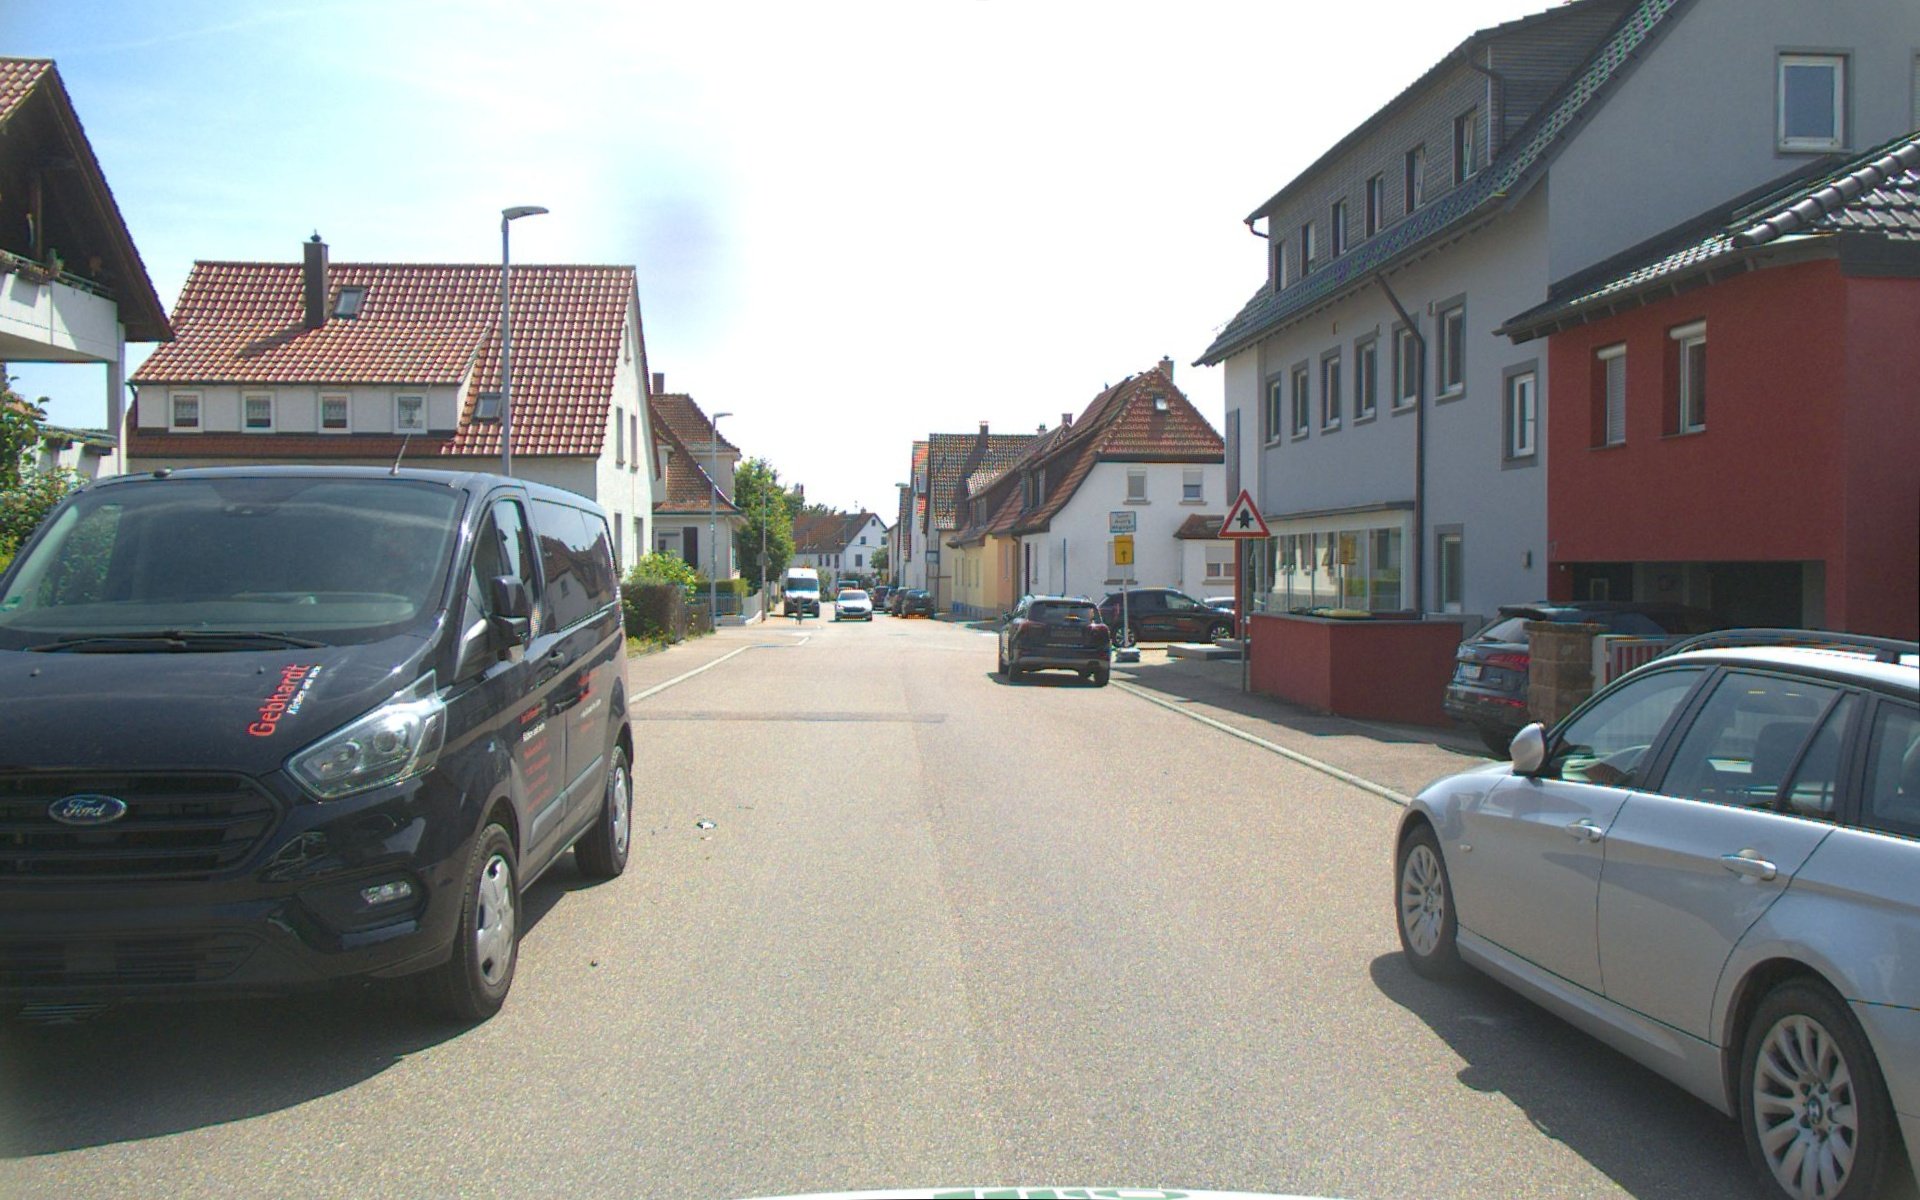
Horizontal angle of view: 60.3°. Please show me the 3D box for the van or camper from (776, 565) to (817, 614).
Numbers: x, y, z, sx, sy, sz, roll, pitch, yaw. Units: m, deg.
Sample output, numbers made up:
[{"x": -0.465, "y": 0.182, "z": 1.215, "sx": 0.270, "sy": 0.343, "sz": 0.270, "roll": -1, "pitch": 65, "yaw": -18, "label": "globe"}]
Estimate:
[{"x": -9.094, "y": -0.589, "z": 91.796, "sx": 2.142, "sy": 2.616, "sz": 6.798, "roll": 1, "pitch": 0, "yaw": -6, "label": "van or camper"}]

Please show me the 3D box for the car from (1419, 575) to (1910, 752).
[{"x": 7.142, "y": 0.622, "z": 17.032, "sx": 4.282, "sy": 1.698, "sz": 1.875, "roll": 1, "pitch": 0, "yaw": -5, "label": "car"}]

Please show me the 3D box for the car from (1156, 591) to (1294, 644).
[{"x": 8.030, "y": 0.518, "z": 50.281, "sx": 3.906, "sy": 1.530, "sz": 1.694, "roll": 1, "pitch": 0, "yaw": -1, "label": "car"}]

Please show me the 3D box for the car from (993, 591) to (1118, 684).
[{"x": 1.653, "y": 0.623, "z": 30.124, "sx": 1.727, "sy": 1.553, "sz": 4.402, "roll": 1, "pitch": 0, "yaw": -4, "label": "car"}]

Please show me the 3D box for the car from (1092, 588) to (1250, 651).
[{"x": 5.849, "y": 0.532, "z": 46.228, "sx": 4.204, "sy": 1.682, "sz": 1.848, "roll": 1, "pitch": 0, "yaw": 2, "label": "car"}]

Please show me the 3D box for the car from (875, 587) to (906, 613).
[{"x": -4.401, "y": 0.000, "z": 104.419, "sx": 1.642, "sy": 1.586, "sz": 3.035, "roll": 1, "pitch": 0, "yaw": -8, "label": "car"}]

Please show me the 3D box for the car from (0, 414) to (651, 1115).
[{"x": -2.586, "y": 0.448, "z": 7.057, "sx": 1.929, "sy": 1.986, "sz": 4.692, "roll": -1, "pitch": 0, "yaw": -4, "label": "car"}]

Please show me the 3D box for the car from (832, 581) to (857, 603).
[{"x": -11.470, "y": -0.811, "z": 164.415, "sx": 2.085, "sy": 2.196, "sz": 4.736, "roll": 0, "pitch": 0, "yaw": 0, "label": "car"}]

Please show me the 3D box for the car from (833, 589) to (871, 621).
[{"x": -5.154, "y": 0.227, "z": 78.940, "sx": 1.718, "sy": 1.463, "sz": 4.584, "roll": 1, "pitch": 0, "yaw": -4, "label": "car"}]

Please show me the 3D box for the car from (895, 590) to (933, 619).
[{"x": -2.440, "y": 0.211, "z": 86.996, "sx": 1.580, "sy": 1.456, "sz": 3.747, "roll": 1, "pitch": 0, "yaw": -8, "label": "car"}]

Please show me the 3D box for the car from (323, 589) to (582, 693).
[{"x": -7.711, "y": 0.565, "z": 25.647, "sx": 1.788, "sy": 1.457, "sz": 4.567, "roll": 1, "pitch": 0, "yaw": 13, "label": "car"}]

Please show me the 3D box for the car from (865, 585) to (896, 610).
[{"x": -5.789, "y": -0.187, "z": 119.570, "sx": 1.840, "sy": 1.730, "sz": 4.175, "roll": 1, "pitch": 0, "yaw": -8, "label": "car"}]

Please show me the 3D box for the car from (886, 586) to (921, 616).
[{"x": -3.166, "y": 0.047, "z": 92.580, "sx": 1.695, "sy": 1.627, "sz": 4.248, "roll": 1, "pitch": 0, "yaw": -5, "label": "car"}]

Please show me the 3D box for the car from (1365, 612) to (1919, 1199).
[{"x": 2.846, "y": 0.822, "z": 5.243, "sx": 1.717, "sy": 1.445, "sz": 4.417, "roll": 2, "pitch": 0, "yaw": -4, "label": "car"}]
